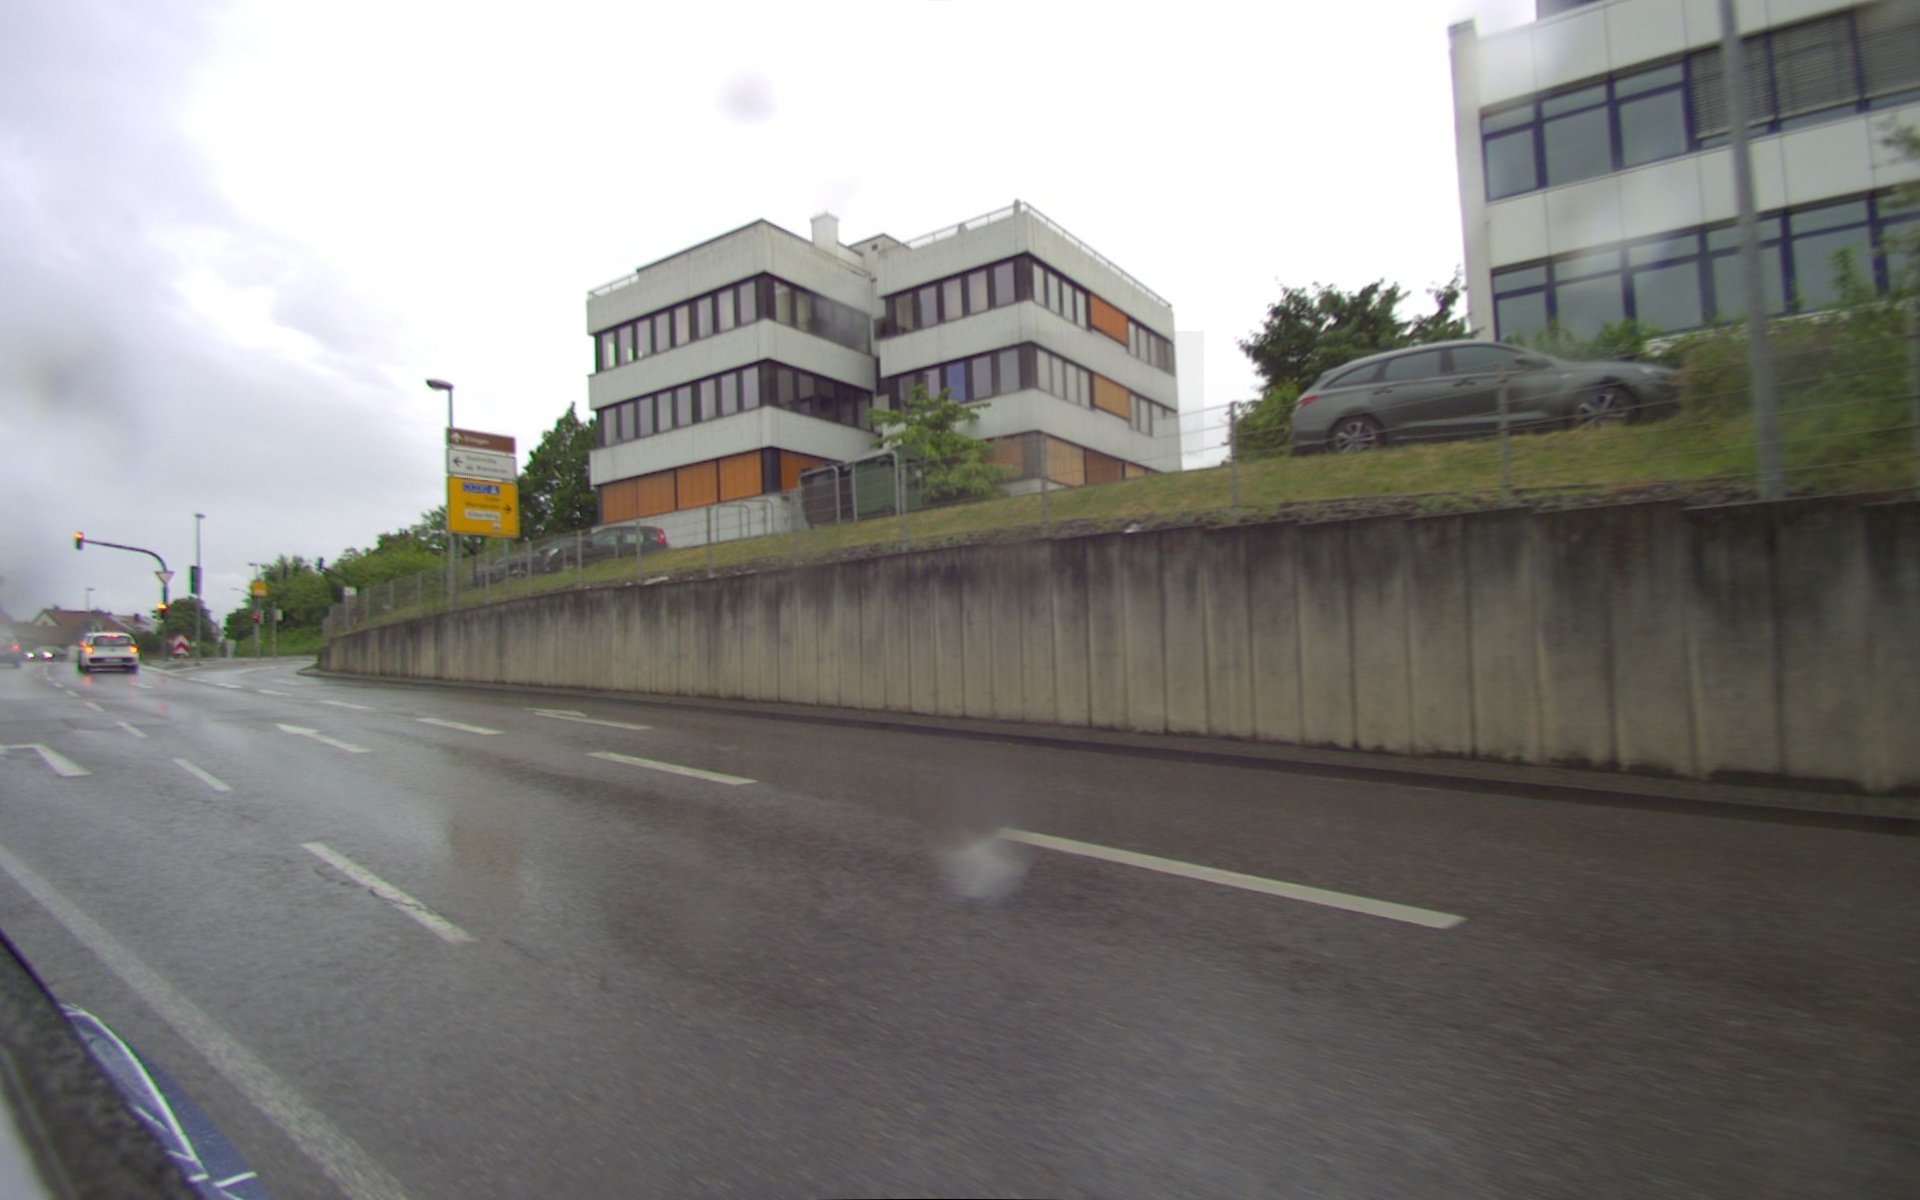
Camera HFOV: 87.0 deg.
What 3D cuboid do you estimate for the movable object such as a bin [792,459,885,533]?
[{"bbox_3d":[-2.372,-1.999,19.750,1.342,1.221,1.227,-2,-1,42],"label":"movable object such as a bin"}]

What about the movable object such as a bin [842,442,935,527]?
[{"bbox_3d":[-1.325,-2.123,18.900,1.218,1.357,1.227,-2,-1,43],"label":"movable object such as a bin"}]

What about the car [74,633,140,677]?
[{"bbox_3d":[-32.705,2.065,38.757,1.713,1.471,3.724,0,-1,-44],"label":"car"}]

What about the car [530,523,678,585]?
[{"bbox_3d":[-10.297,-1.296,29.456,3.931,1.666,2.006,0,0,-17],"label":"car"}]

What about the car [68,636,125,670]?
[{"bbox_3d":[-37.886,2.294,44.366,1.713,1.314,3.724,0,-1,-44],"label":"car"}]

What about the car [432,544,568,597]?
[{"bbox_3d":[-15.322,-0.944,33.929,3.931,1.666,2.006,0,0,-17],"label":"car"}]

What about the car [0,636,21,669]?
[{"bbox_3d":[-42.407,2.313,44.390,1.713,1.314,3.724,0,-1,-44],"label":"car"}]

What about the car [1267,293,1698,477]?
[{"bbox_3d":[6.407,-2.505,12.698,4.528,1.353,1.894,-1,0,39],"label":"car"}]
